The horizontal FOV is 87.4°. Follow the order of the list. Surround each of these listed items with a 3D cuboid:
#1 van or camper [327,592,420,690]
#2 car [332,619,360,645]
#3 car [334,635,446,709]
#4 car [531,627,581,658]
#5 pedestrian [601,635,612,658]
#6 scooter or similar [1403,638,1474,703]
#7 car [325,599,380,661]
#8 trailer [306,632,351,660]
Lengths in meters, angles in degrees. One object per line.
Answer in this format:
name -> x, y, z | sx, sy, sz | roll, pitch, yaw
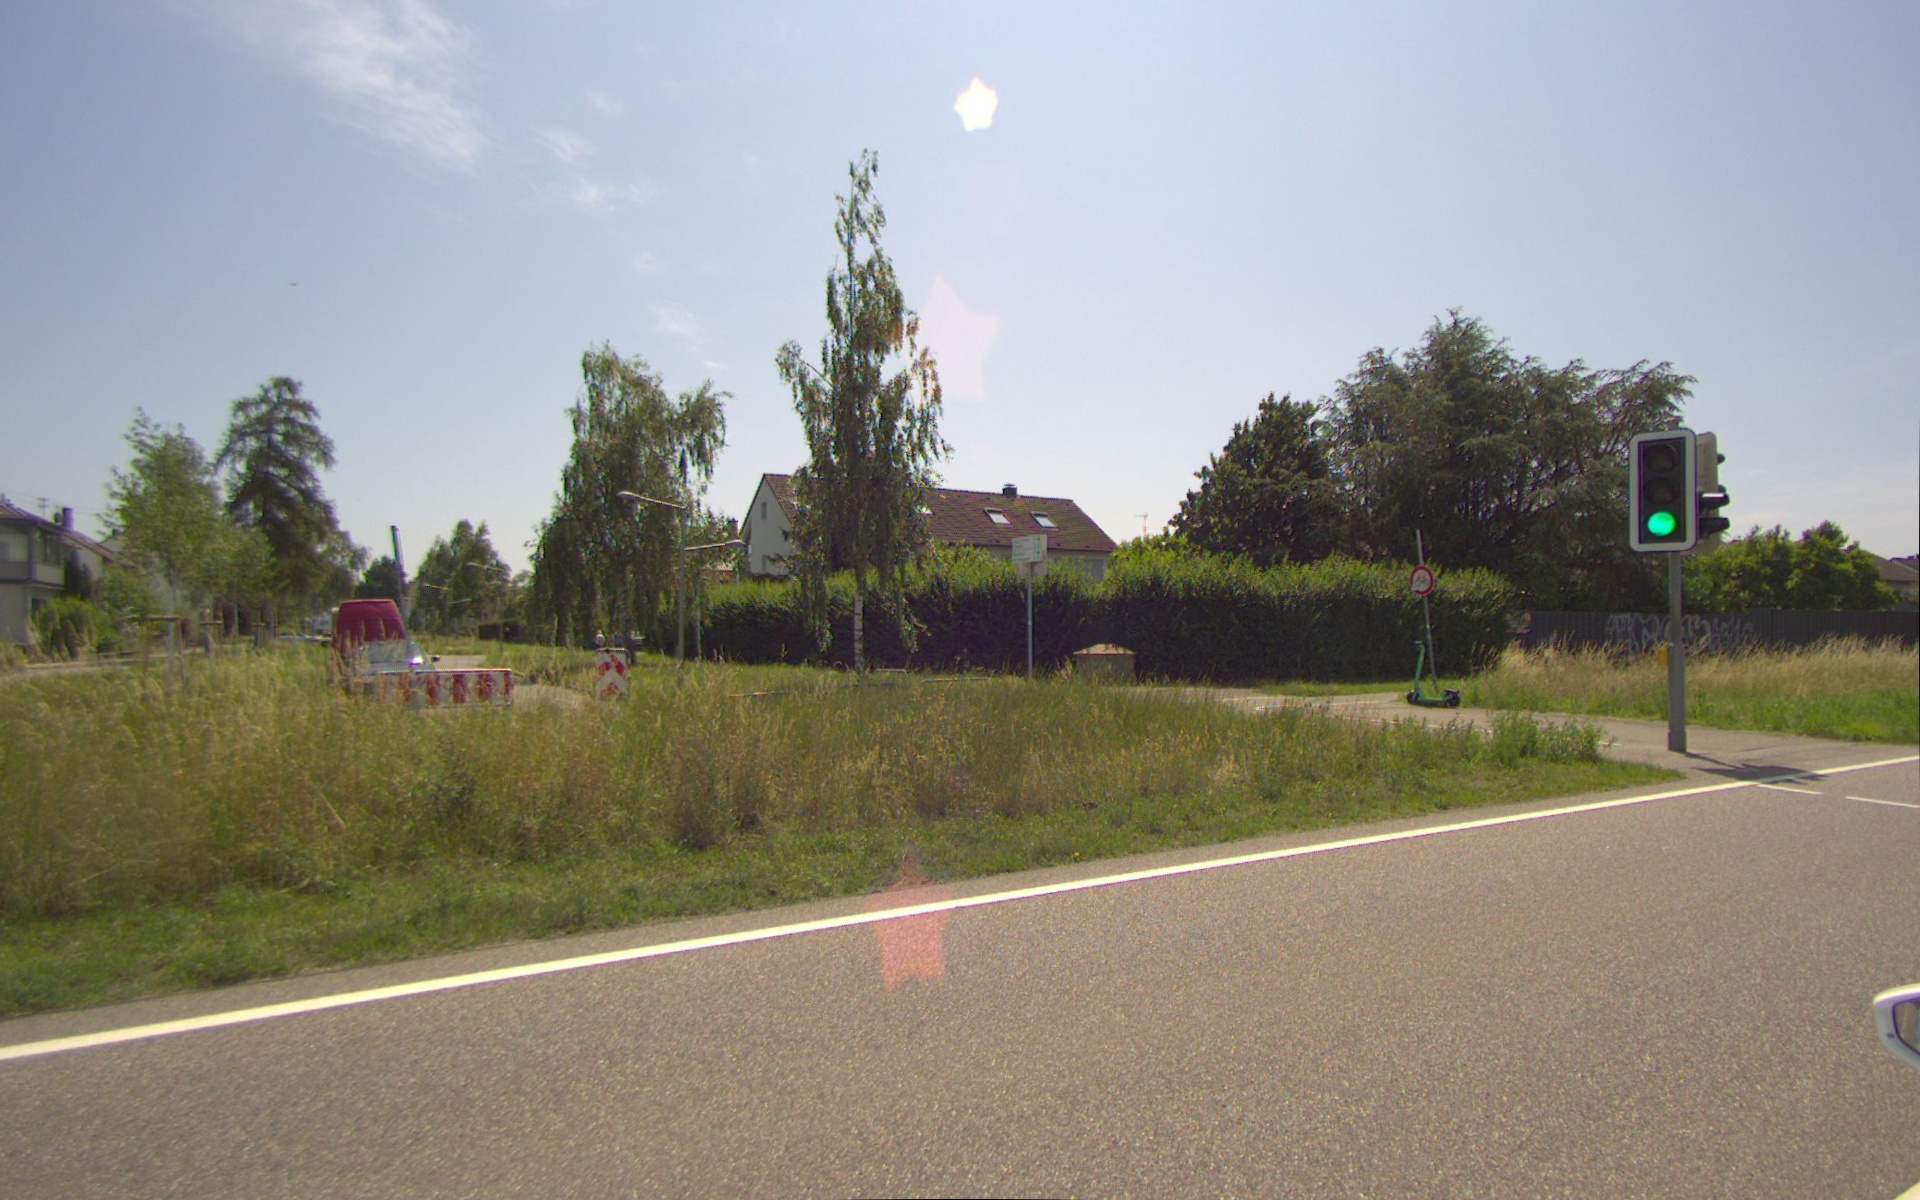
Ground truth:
van or camper -> -15.979, 1.031, 27.259 | 1.978, 2.420, 4.726 | 1, 0, -33
car -> -49.957, 2.573, 81.699 | 1.848, 1.996, 4.448 | 1, 0, -32
car -> -12.890, 1.537, 22.615 | 1.979, 1.372, 3.964 | 1, 0, -33
car -> -18.867, 1.955, 46.843 | 1.553, 1.355, 3.275 | 1, 0, -33
pedestrian -> -21.115, 2.772, 60.002 | 0.535, 1.315, 0.563 | 1, -2, -32
scooter or similar -> 8.912, 1.296, 18.728 | 0.643, 1.143, 1.010 | 1, -2, -38
car -> -25.039, 1.193, 41.366 | 1.849, 2.432, 3.965 | 1, 0, -32
trailer -> -31.871, 2.283, 50.711 | 1.849, 1.241, 4.447 | 1, -1, -32
